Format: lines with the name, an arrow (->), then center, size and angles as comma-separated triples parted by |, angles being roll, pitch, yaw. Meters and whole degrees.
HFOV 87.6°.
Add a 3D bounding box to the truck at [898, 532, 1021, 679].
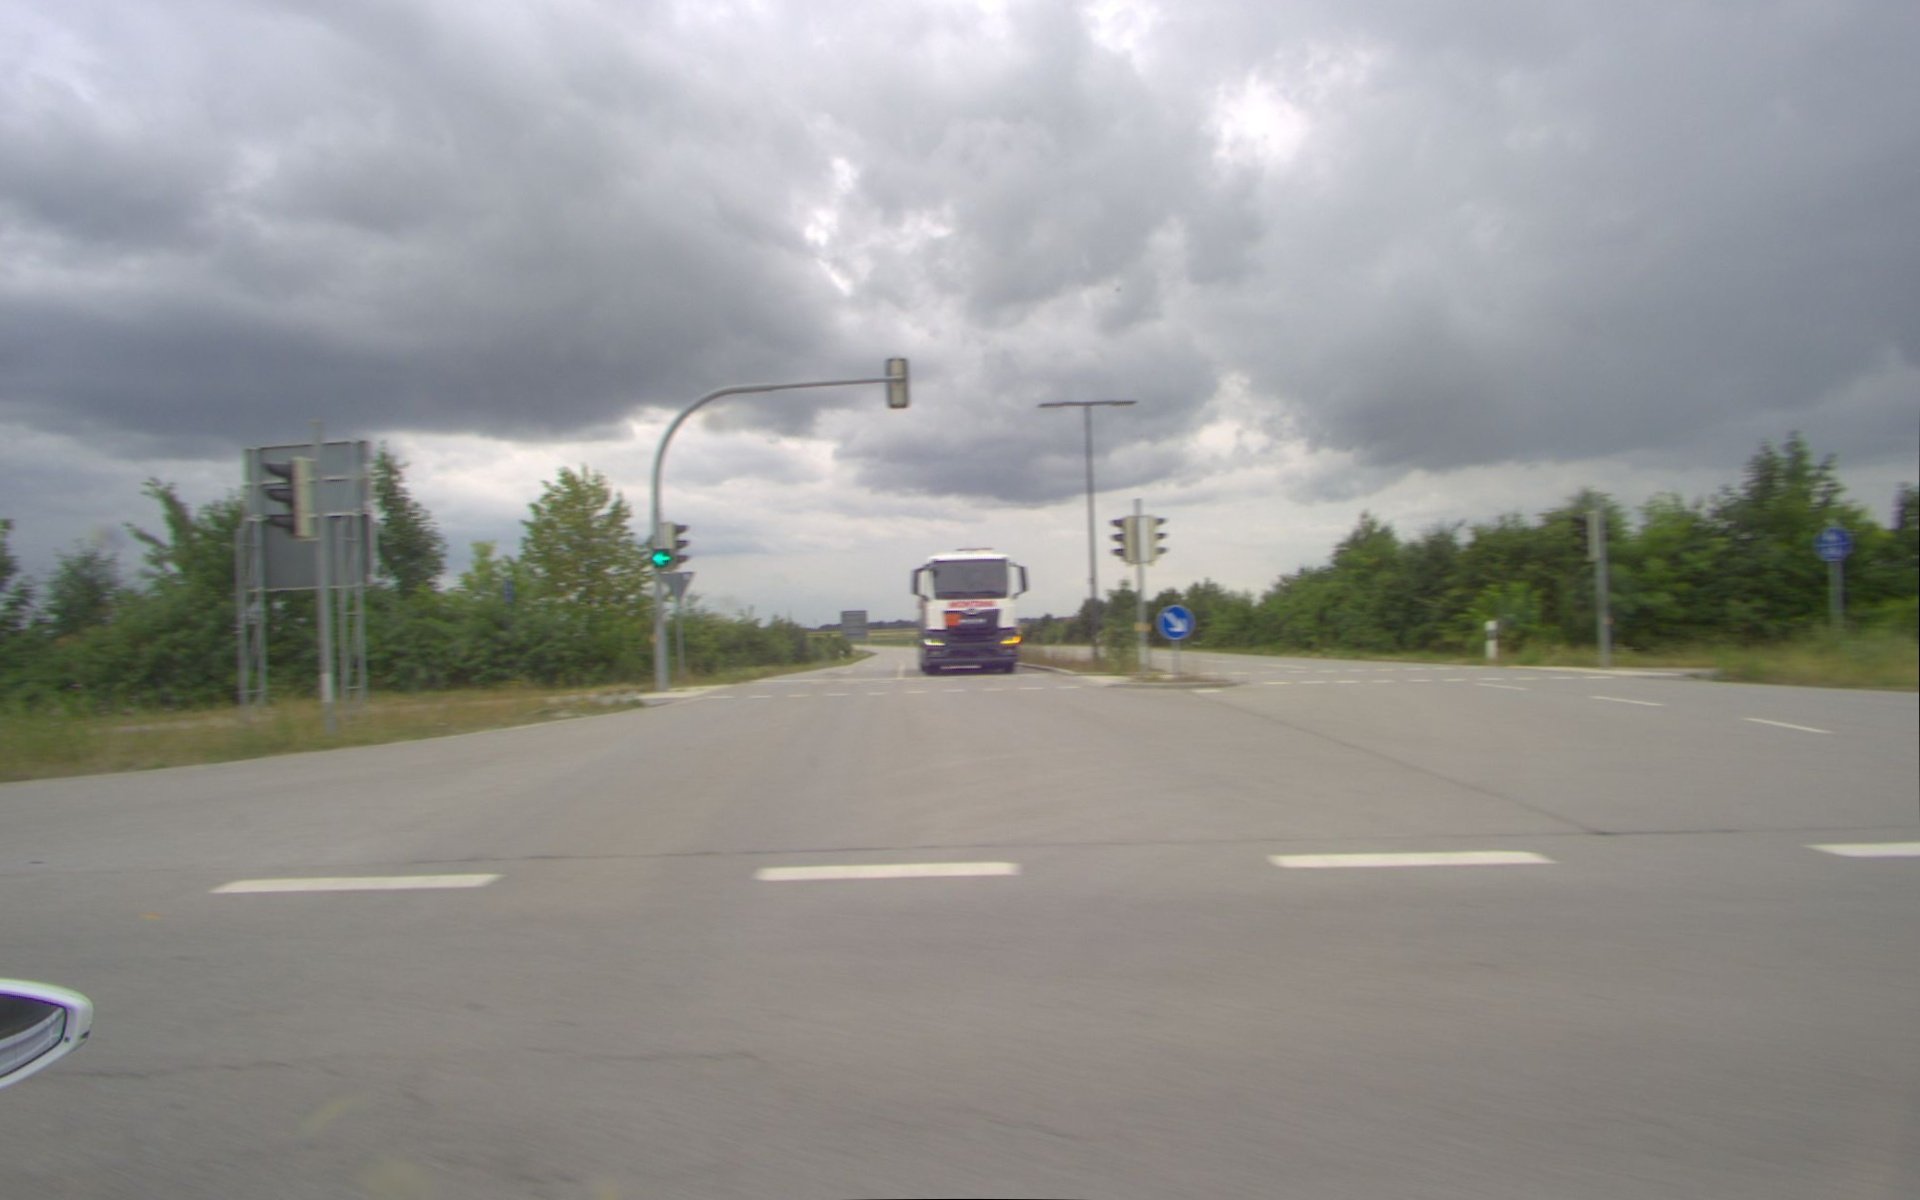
truck -> -0.273, 0.293, 28.587 | 2.823, 3.451, 8.654 | -2, -2, -4
